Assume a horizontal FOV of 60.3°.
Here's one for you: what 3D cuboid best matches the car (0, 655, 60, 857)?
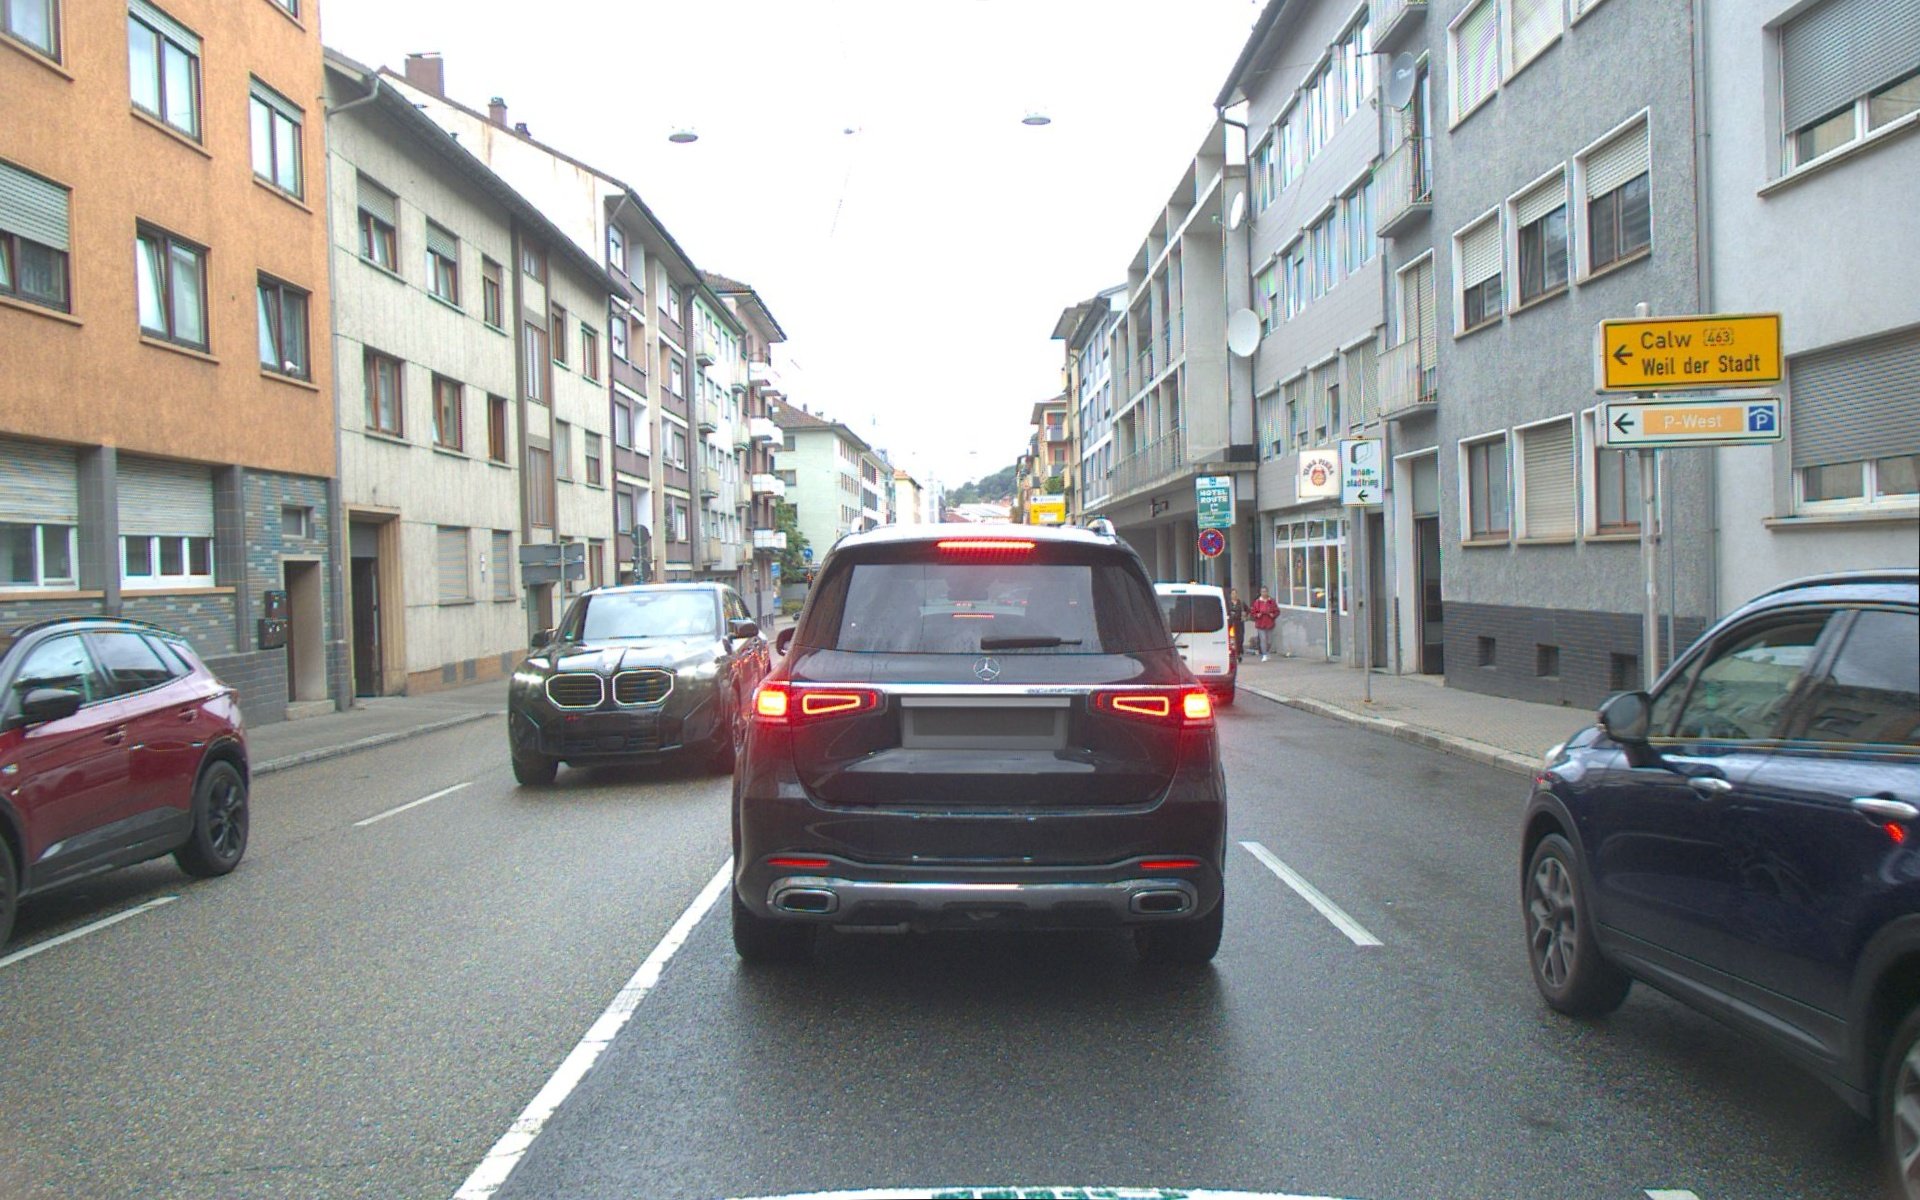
[{"bbox_3d":[-7.963,1.163,10.800,1.759,1.463,4.525,1,0,-1],"label":"car"}]

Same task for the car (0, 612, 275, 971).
[{"bbox_3d":[-5.348,0.945,8.614,1.761,1.612,4.315,-3,0,-1],"label":"car"}]

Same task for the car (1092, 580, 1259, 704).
[{"bbox_3d":[3.346,0.609,26.619,1.901,1.806,4.744,0,0,-2],"label":"car"}]

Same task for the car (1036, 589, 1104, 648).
[{"bbox_3d":[3.153,0.508,48.119,1.771,1.634,4.212,0,0,1],"label":"car"}]

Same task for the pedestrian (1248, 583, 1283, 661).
[{"bbox_3d":[6.459,0.460,34.975,0.548,1.606,0.526,-4,0,0],"label":"pedestrian"}]

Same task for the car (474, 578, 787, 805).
[{"bbox_3d":[-2.970,0.746,16.054,2.083,1.750,4.816,-3,0,-1],"label":"car"}]

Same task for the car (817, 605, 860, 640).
[{"bbox_3d":[-5.583,1.016,76.317,1.732,1.369,3.887,-5,0,-2],"label":"car"}]

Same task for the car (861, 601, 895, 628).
[{"bbox_3d":[-4.526,0.786,91.813,1.690,1.414,4.338,-3,0,-1],"label":"car"}]

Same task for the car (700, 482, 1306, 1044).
[{"bbox_3d":[0.104,0.543,7.496,1.984,1.837,3.999,1,0,-1],"label":"car"}]

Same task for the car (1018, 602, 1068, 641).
[{"bbox_3d":[3.224,0.820,64.842,1.588,1.455,4.311,1,0,-1],"label":"car"}]

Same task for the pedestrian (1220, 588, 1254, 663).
[{"bbox_3d":[5.821,0.531,34.768,0.496,1.526,0.562,-4,0,-2],"label":"pedestrian"}]

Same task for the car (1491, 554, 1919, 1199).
[{"bbox_3d":[3.072,0.689,4.784,1.731,1.608,3.999,0,0,-1],"label":"car"}]
